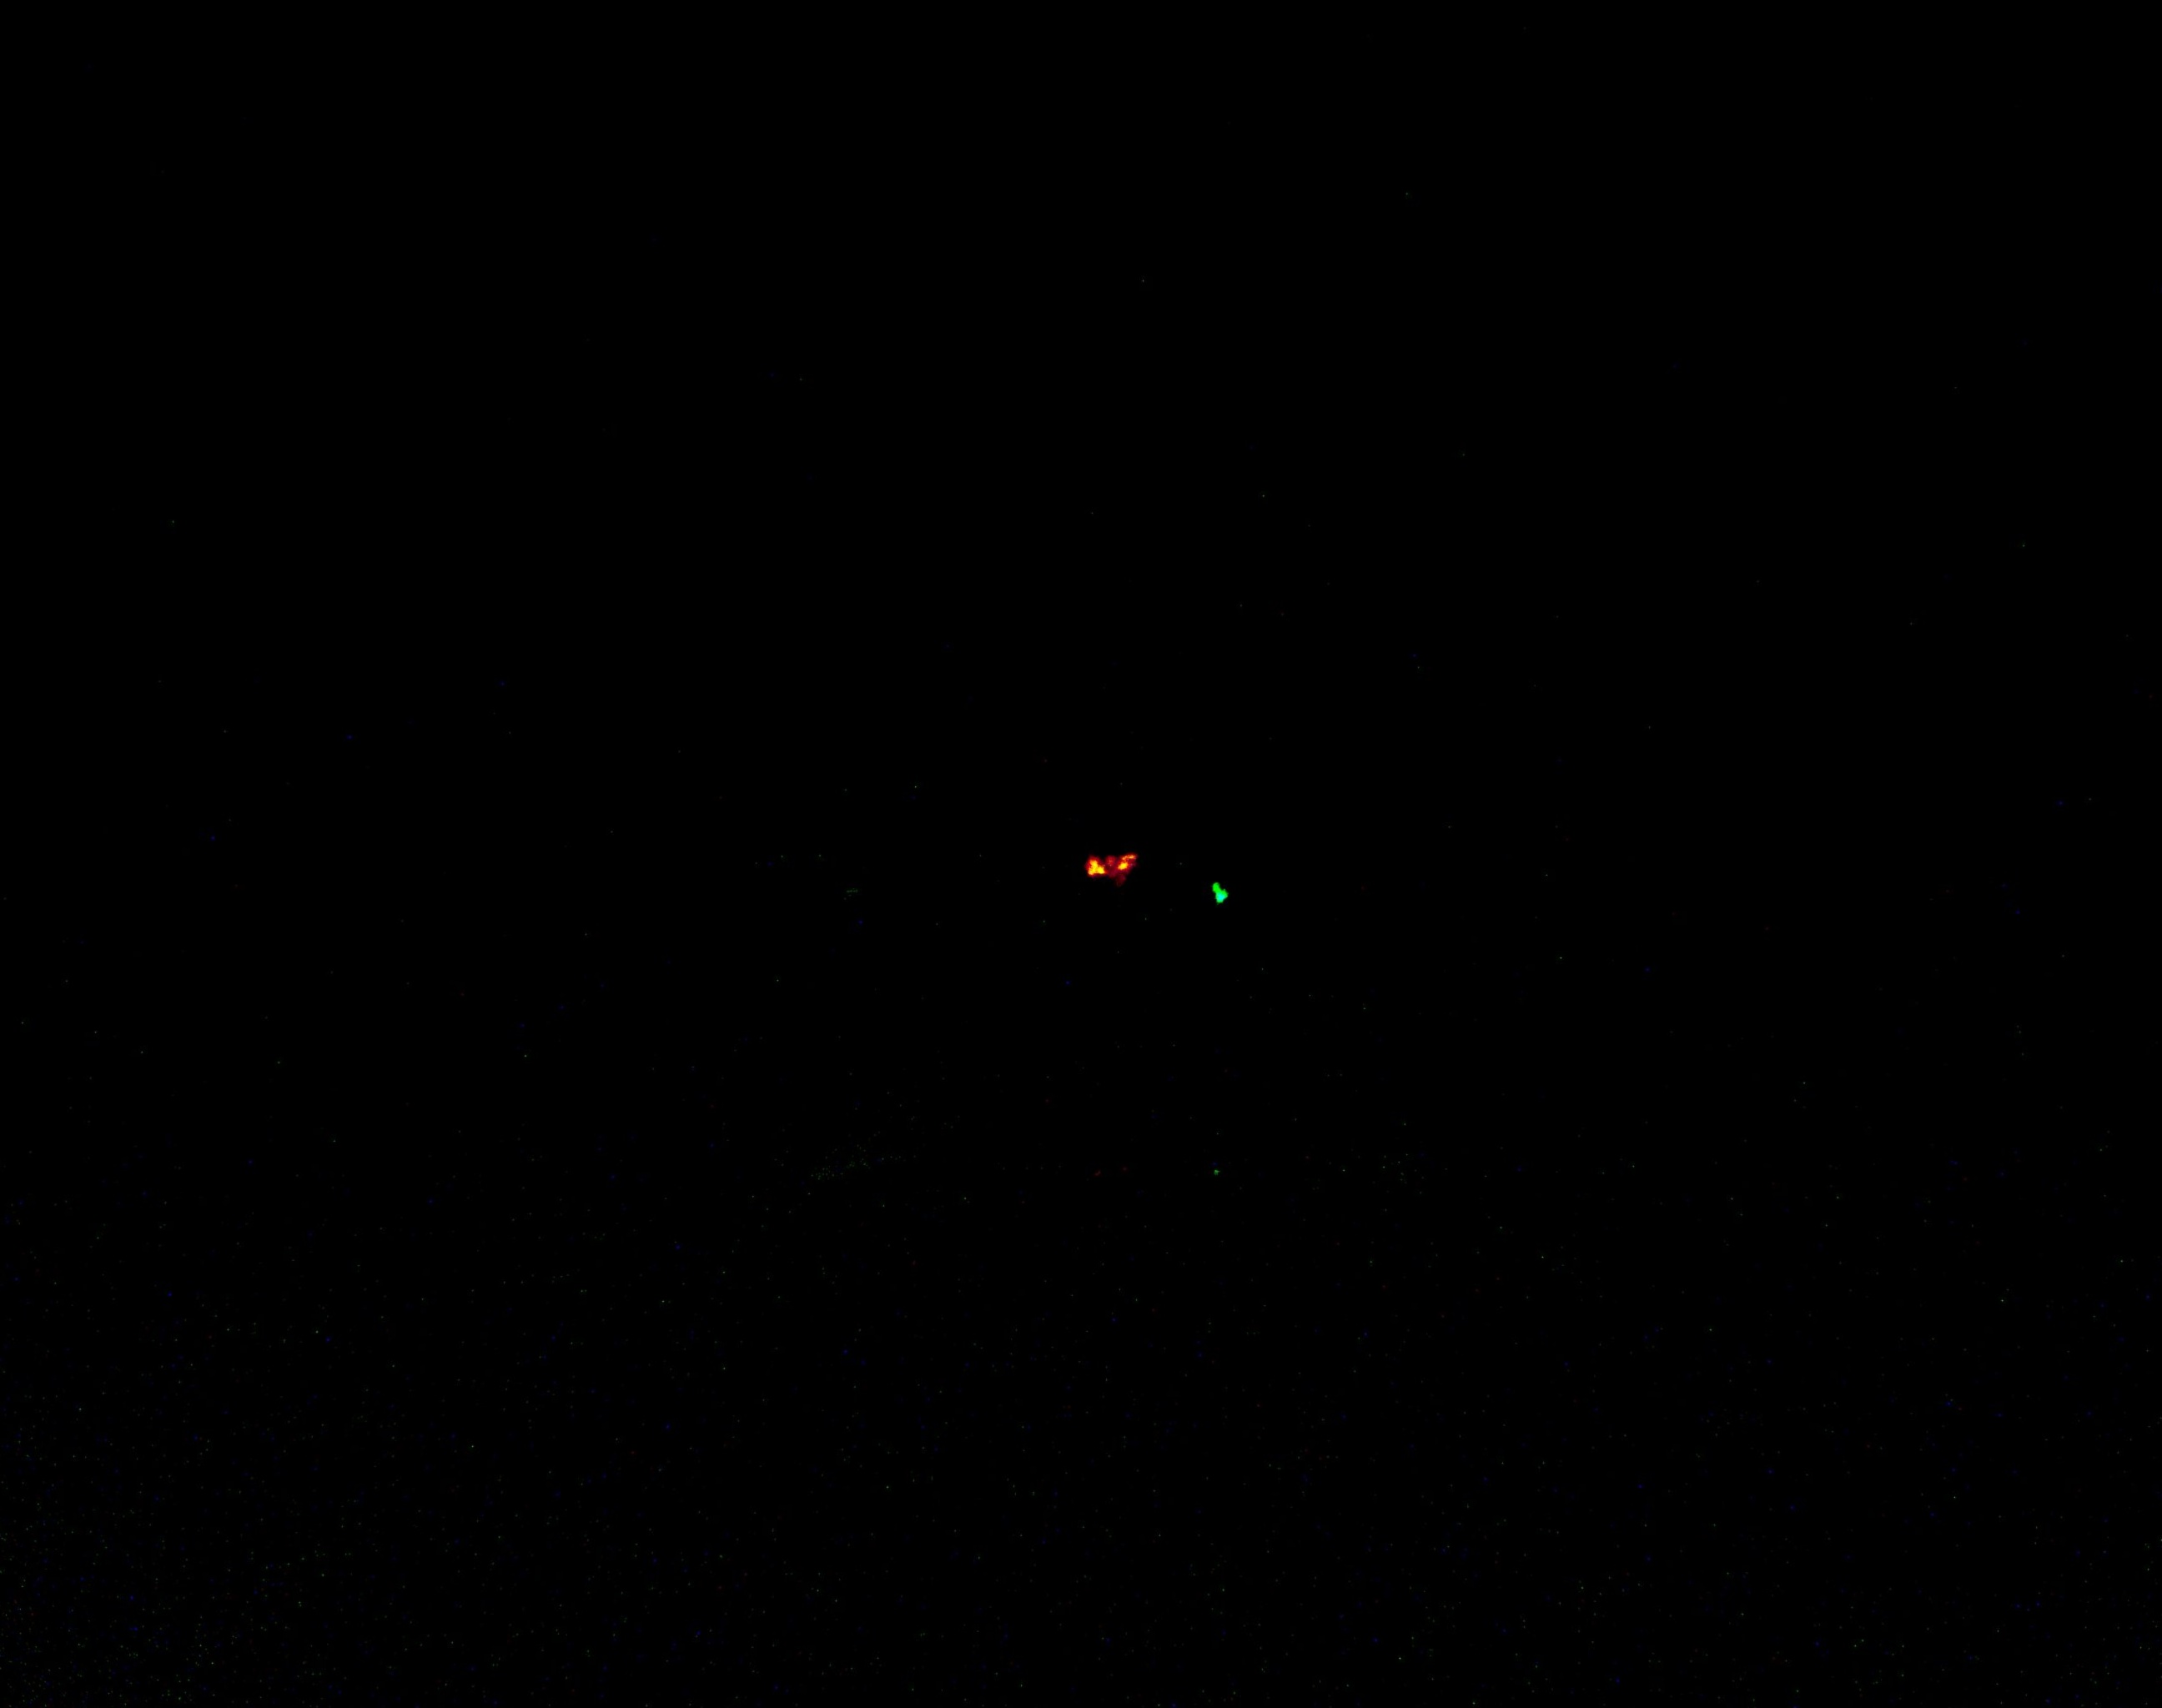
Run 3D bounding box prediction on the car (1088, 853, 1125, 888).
[{"bbox_3d":[1.412,0.854,44.105,1.834,1.740,4.004,-1,0,3],"label":"car"}]
